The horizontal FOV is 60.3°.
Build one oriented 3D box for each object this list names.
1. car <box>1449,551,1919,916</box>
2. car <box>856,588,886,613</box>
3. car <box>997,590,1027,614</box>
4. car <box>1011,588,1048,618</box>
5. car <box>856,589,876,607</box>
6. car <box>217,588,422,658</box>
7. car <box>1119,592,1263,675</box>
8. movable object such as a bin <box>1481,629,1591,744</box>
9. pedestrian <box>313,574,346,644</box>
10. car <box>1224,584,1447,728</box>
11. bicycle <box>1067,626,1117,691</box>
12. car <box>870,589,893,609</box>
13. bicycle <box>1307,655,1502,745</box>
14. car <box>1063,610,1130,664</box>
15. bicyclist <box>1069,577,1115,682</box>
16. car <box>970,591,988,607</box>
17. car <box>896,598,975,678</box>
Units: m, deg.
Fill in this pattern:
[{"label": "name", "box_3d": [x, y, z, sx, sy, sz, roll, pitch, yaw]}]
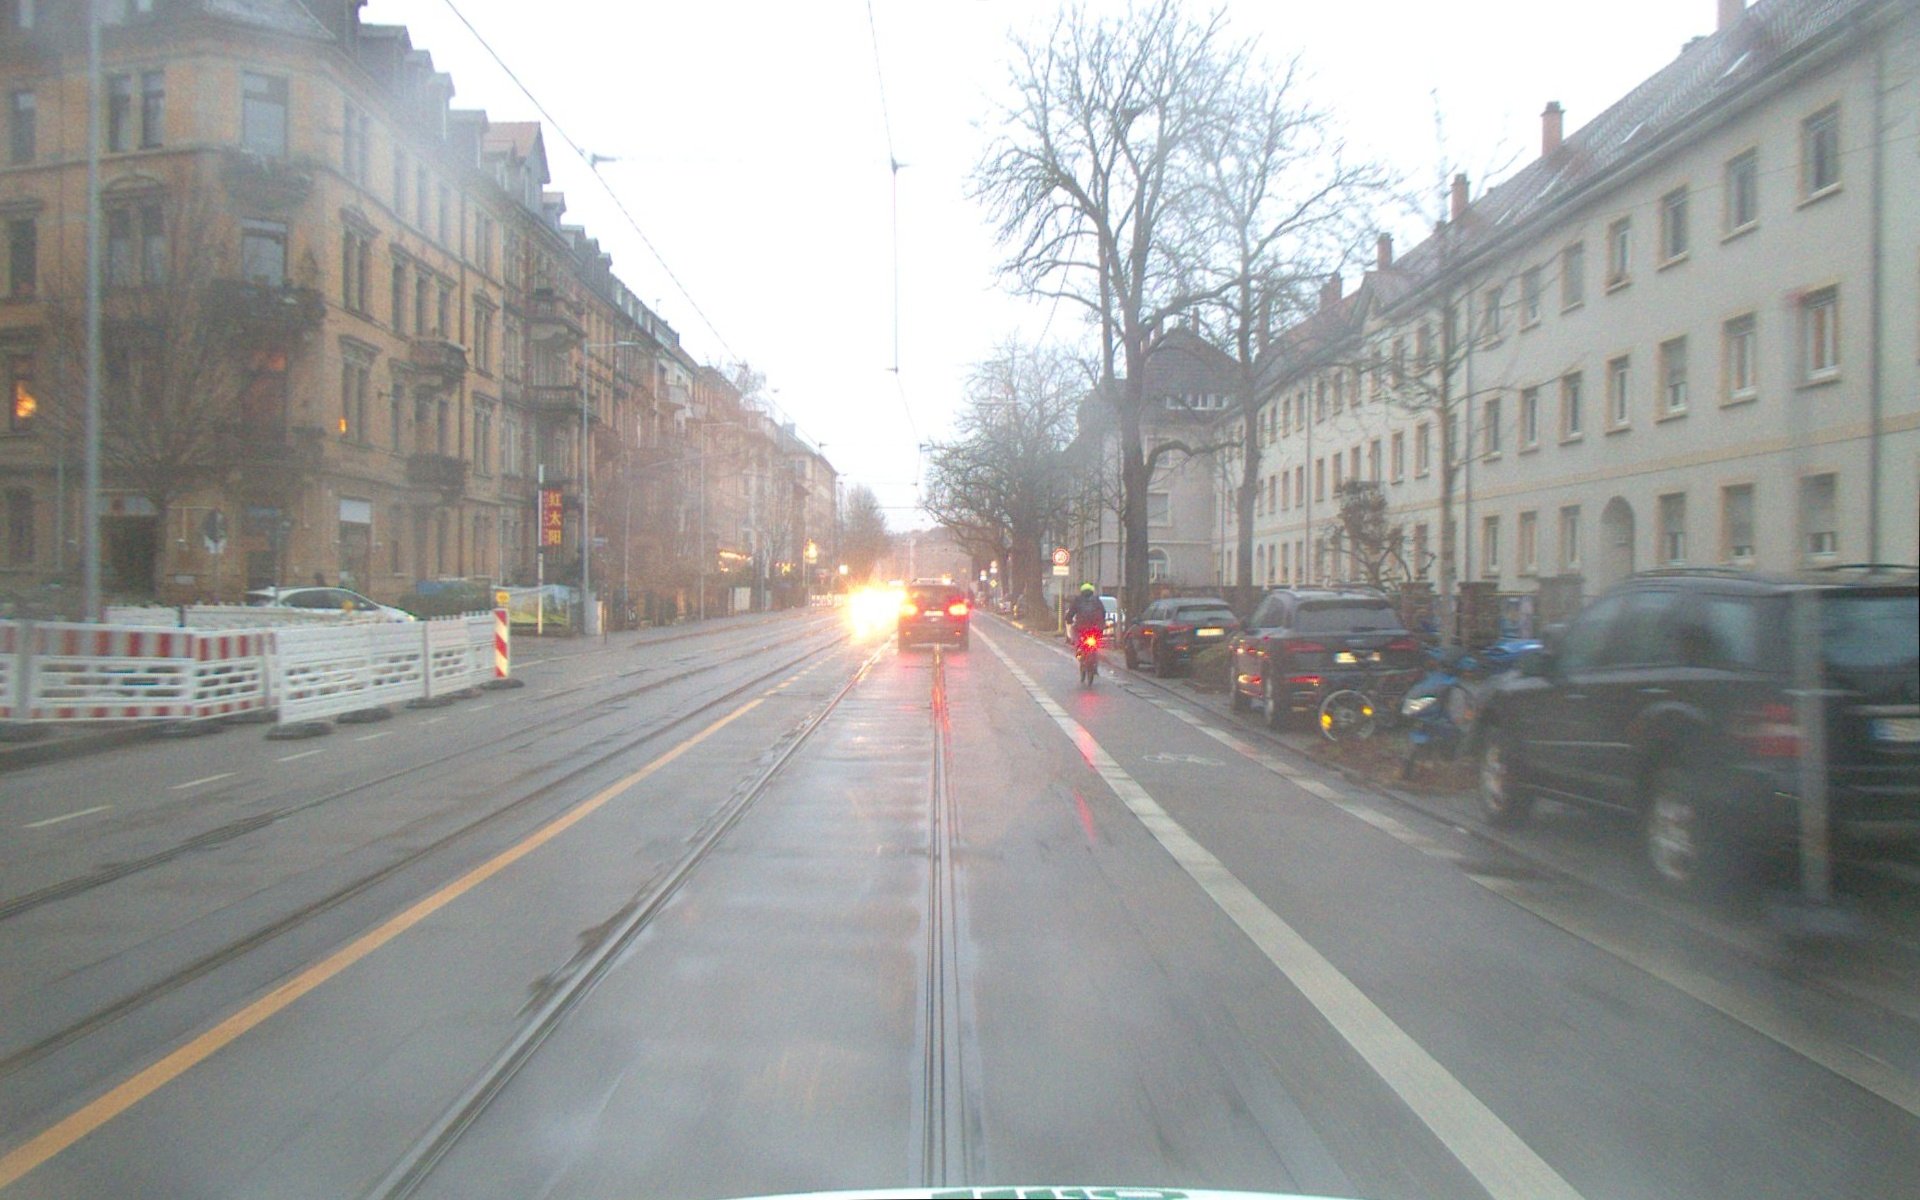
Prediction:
[{"label": "car", "box_3d": [4.795, 0.634, 10.444, 1.867, 1.758, 4.901, 0, 0, -1]}, {"label": "car", "box_3d": [-6.086, 0.045, 113.518, 1.884, 1.691, 3.999, 0, 0, -1]}, {"label": "car", "box_3d": [3.293, 0.128, 106.303, 1.749, 1.536, 4.108, 0, 0, -1]}, {"label": "car", "box_3d": [3.664, 0.138, 88.283, 1.749, 1.536, 4.108, 0, 0, -1]}, {"label": "car", "box_3d": [-9.513, -0.237, 168.205, 1.884, 1.750, 3.999, 0, 0, -1]}, {"label": "car", "box_3d": [-15.212, 0.518, 39.379, 4.142, 1.552, 1.967, 0, 0, -45]}, {"label": "car", "box_3d": [4.406, 0.596, 32.233, 1.842, 1.444, 4.339, -1, 0, -5]}, {"label": "movable object such as a bin", "box_3d": [5.380, 0.795, 15.458, 0.737, 0.970, 0.568, -5, 1, -7]}, {"label": "pedestrian", "box_3d": [-16.588, 0.232, 43.529, 0.711, 1.804, 0.763, 0, 0, -30]}, {"label": "car", "box_3d": [4.665, 0.632, 21.213, 1.866, 1.638, 4.561, 0, 0, 1]}, {"label": "bicycle", "box_3d": [2.259, 0.989, 28.439, 0.716, 1.024, 1.764, 1, 0, 0]}, {"label": "car", "box_3d": [-6.727, -0.080, 141.982, 1.884, 1.691, 3.999, 0, 0, -1]}, {"label": "bicycle", "box_3d": [4.736, 1.062, 17.712, 1.970, 0.932, 0.465, 0, 0, 8]}, {"label": "car", "box_3d": [4.118, 1.100, 50.457, 1.749, 1.536, 4.108, 0, 0, 0]}, {"label": "bicyclist", "box_3d": [2.260, 0.492, 28.360, 0.715, 1.767, 0.765, 1, 0, 0]}, {"label": "car", "box_3d": [1.879, -0.130, 164.867, 1.749, 1.536, 4.108, 0, 0, -1]}, {"label": "car", "box_3d": [-0.596, 0.945, 43.316, 1.765, 1.903, 4.019, 3, 0, 2]}]
